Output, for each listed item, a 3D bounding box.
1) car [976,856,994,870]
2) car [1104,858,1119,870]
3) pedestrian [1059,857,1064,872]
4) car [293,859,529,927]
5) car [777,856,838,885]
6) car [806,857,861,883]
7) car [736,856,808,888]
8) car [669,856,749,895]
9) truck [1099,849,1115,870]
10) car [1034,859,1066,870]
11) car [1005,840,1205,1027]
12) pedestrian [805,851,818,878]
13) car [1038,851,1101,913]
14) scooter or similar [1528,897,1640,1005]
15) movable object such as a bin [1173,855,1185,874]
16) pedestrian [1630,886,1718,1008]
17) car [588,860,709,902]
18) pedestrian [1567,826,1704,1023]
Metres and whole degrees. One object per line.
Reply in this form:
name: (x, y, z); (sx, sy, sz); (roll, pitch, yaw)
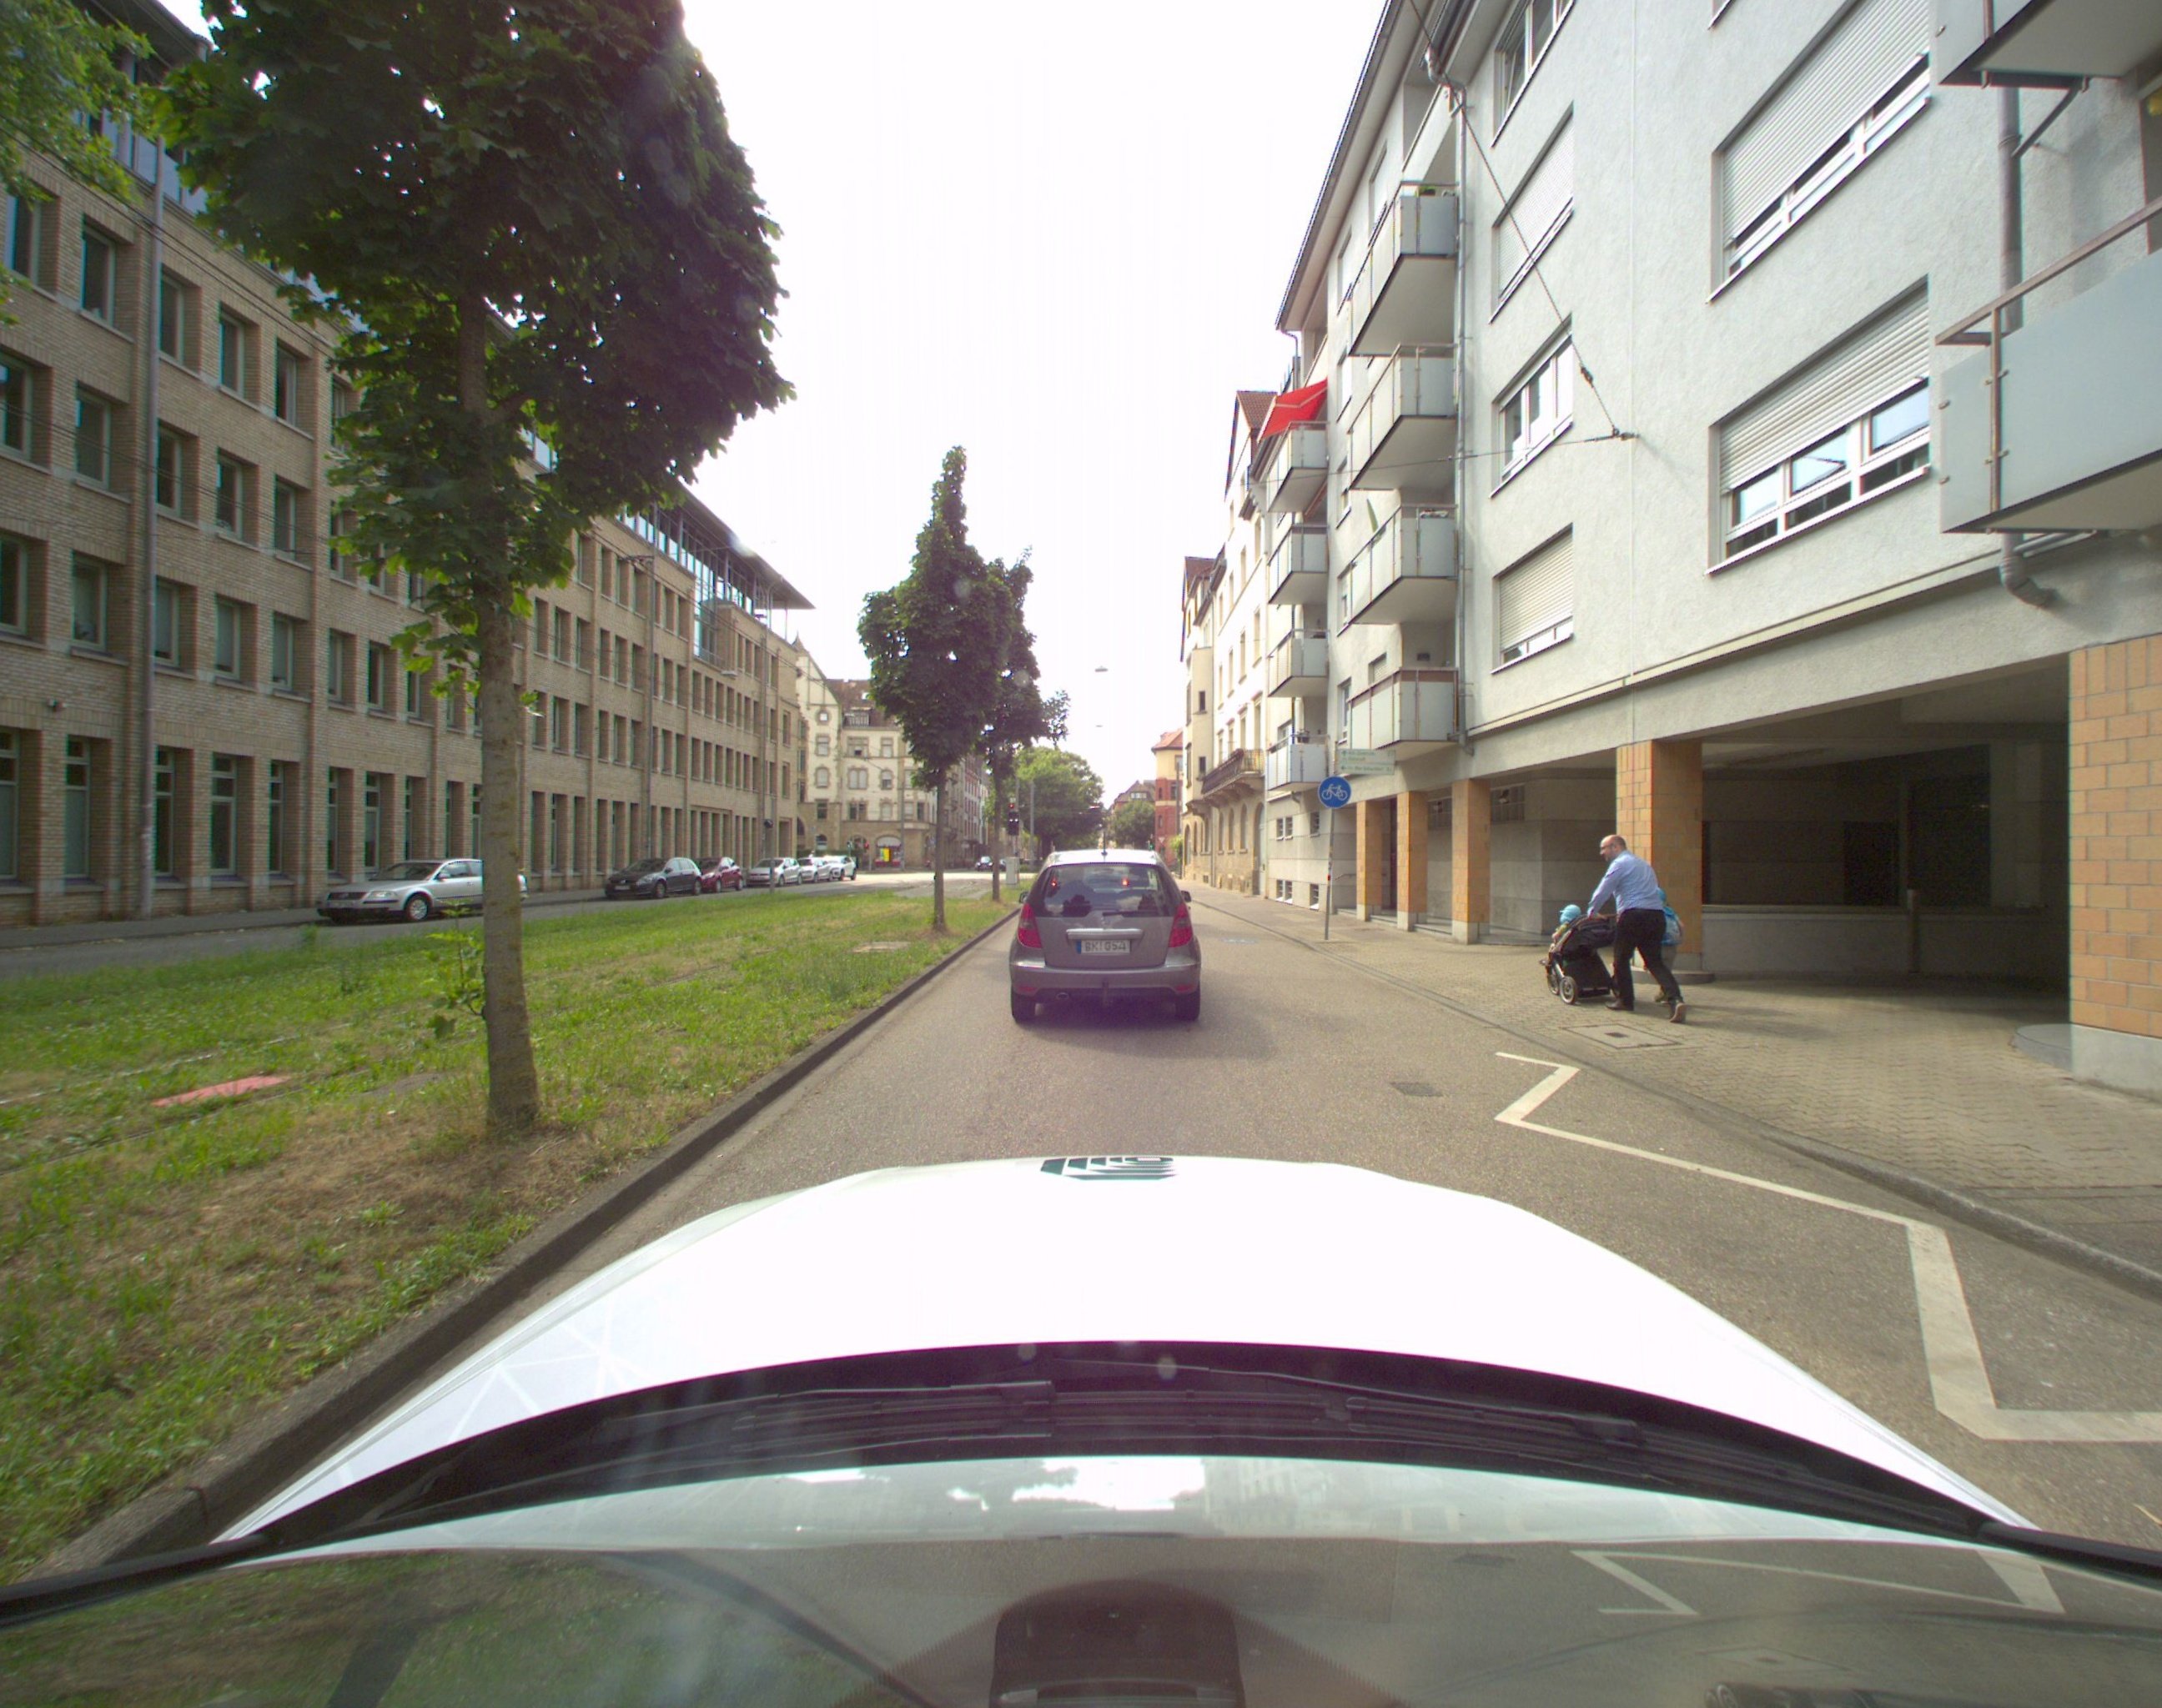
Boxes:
car: (-11.598, 1.094, 98.805); (1.990, 1.618, 3.994); (0, -1, -4)
car: (4.001, 1.309, 106.723); (1.744, 1.633, 3.504); (0, 0, 5)
pedestrian: (-2.248, 1.243, 93.934); (0.493, 1.725, 0.651); (1, -1, -12)
car: (-15.465, 0.835, 19.182); (1.709, 1.396, 4.486); (0, 0, 2)
car: (-15.266, 0.905, 45.724); (1.925, 1.531, 4.016); (0, 0, 2)
car: (-15.173, 0.935, 50.216); (1.925, 1.535, 4.260); (0, 0, 2)
car: (-15.218, 0.849, 40.368); (1.844, 1.531, 4.212); (0, 0, 2)
car: (-15.339, 0.841, 33.811); (1.577, 1.531, 3.551); (0, 0, 2)
truck: (3.901, 0.768, 119.696); (2.113, 2.970, 4.005); (0, -1, 5)
car: (-3.901, 1.317, 101.512); (1.984, 1.339, 3.954); (1, 0, -38)
car: (0.265, 0.705, 8.880); (1.716, 1.605, 3.678); (0, -1, 2)
pedestrian: (-18.300, 0.709, 55.331); (0.763, 1.795, 0.952); (1, -1, -24)
car: (-0.285, 0.787, 24.481); (1.716, 1.706, 3.678); (0, -1, 2)
scooter or similar: (5.318, 1.002, 8.658); (0.590, 1.002, 0.906); (-4, -1, 2)
movable object such as a bin: (7.494, 0.803, 62.271); (0.714, 1.472, 0.980); (0, -1, -8)
pedestrian: (5.893, 0.913, 8.118); (0.454, 1.135, 0.494); (-3, -1, 1)
car: (-15.337, 0.912, 29.179); (1.925, 1.396, 4.241); (0, 0, 2)
pedestrian: (5.253, 0.637, 7.768); (0.618, 1.738, 0.877); (-3, -1, 1)
